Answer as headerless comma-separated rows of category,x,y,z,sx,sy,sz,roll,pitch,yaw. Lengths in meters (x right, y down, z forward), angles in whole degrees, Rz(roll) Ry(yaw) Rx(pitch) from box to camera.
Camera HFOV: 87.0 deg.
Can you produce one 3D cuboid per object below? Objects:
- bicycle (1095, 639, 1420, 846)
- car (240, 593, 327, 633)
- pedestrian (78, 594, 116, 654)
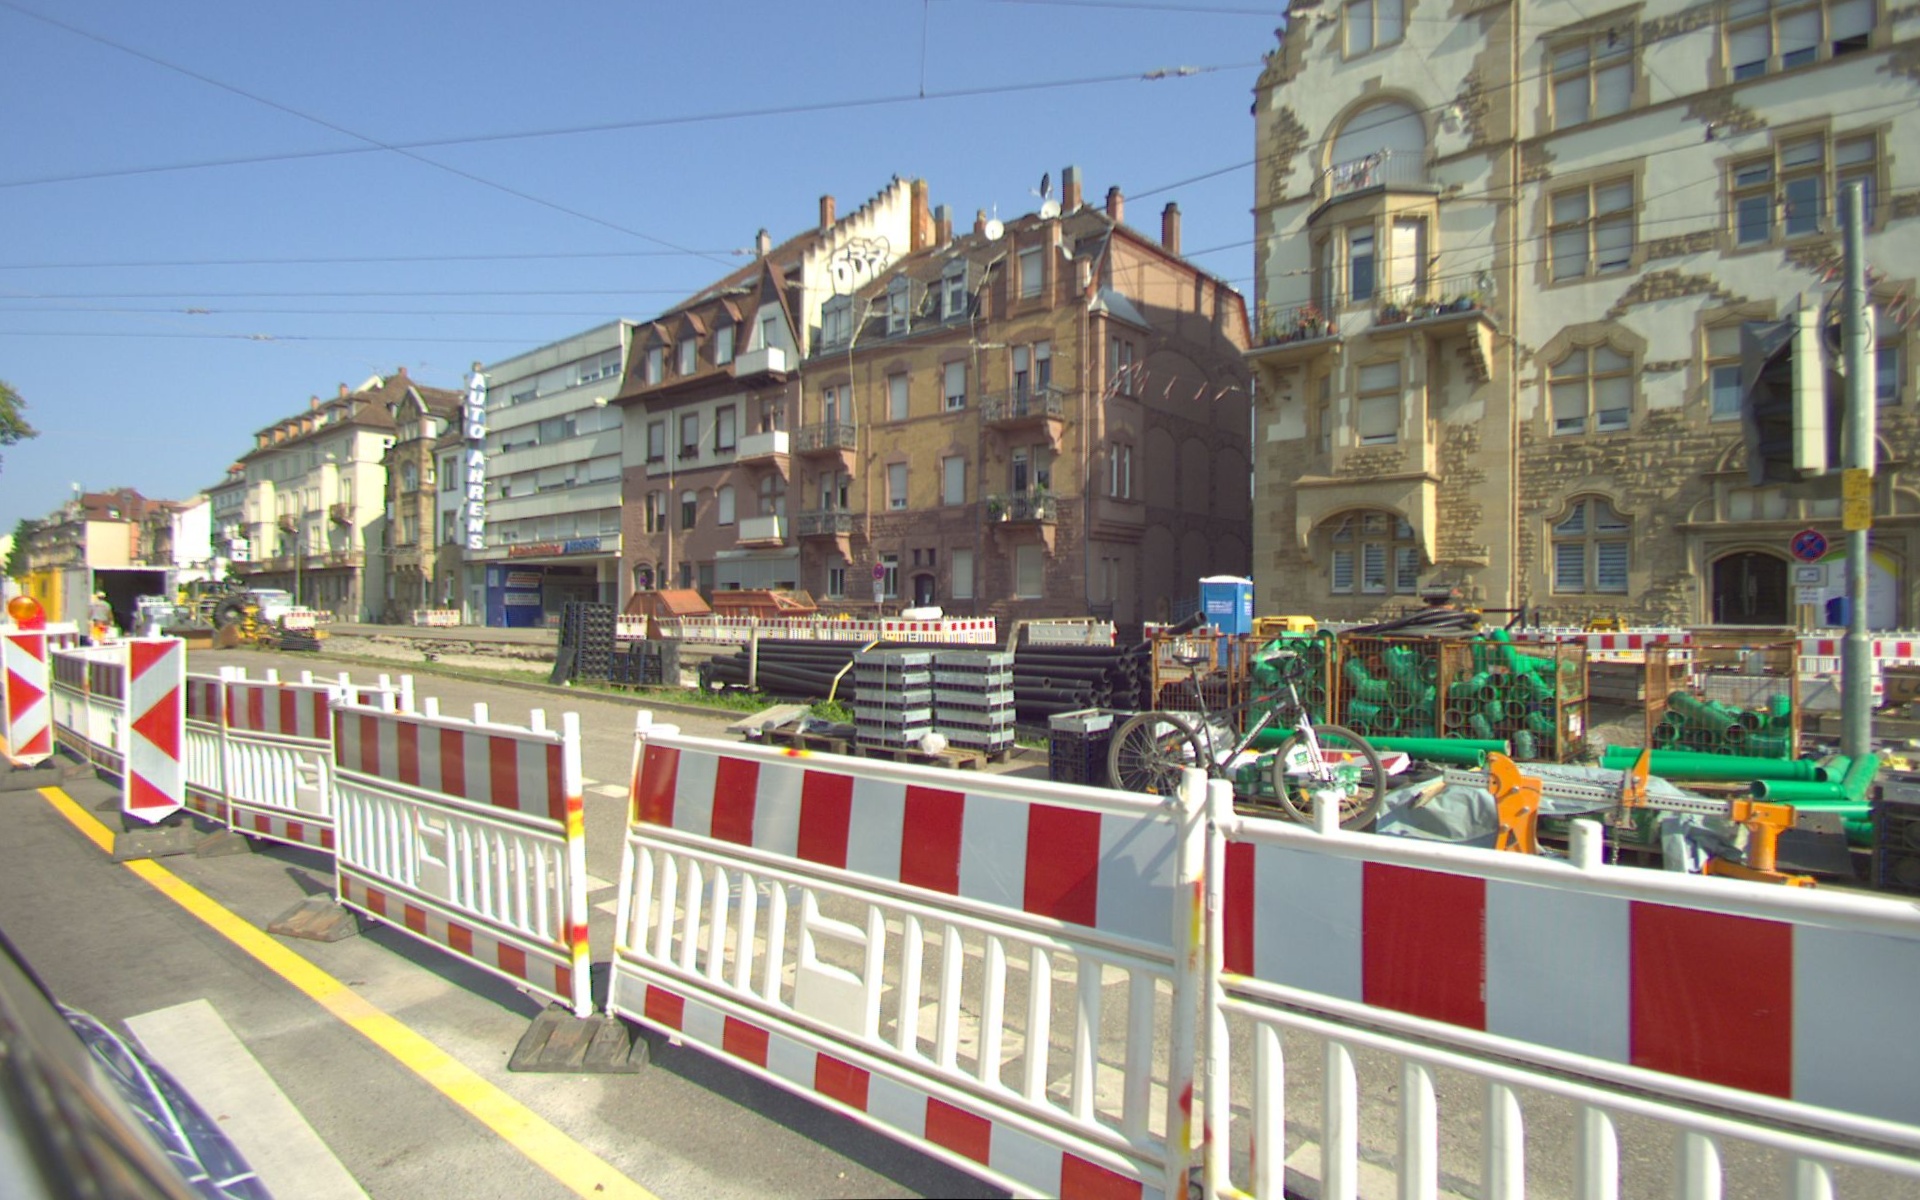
bicycle,1.894,0.850,6.598,1.961,1.107,0.558,1,1,32
car,-38.155,0.706,57.005,7.119,2.151,2.336,0,-1,42
pedestrian,-26.387,0.744,30.928,0.792,1.811,0.596,3,-2,-44
